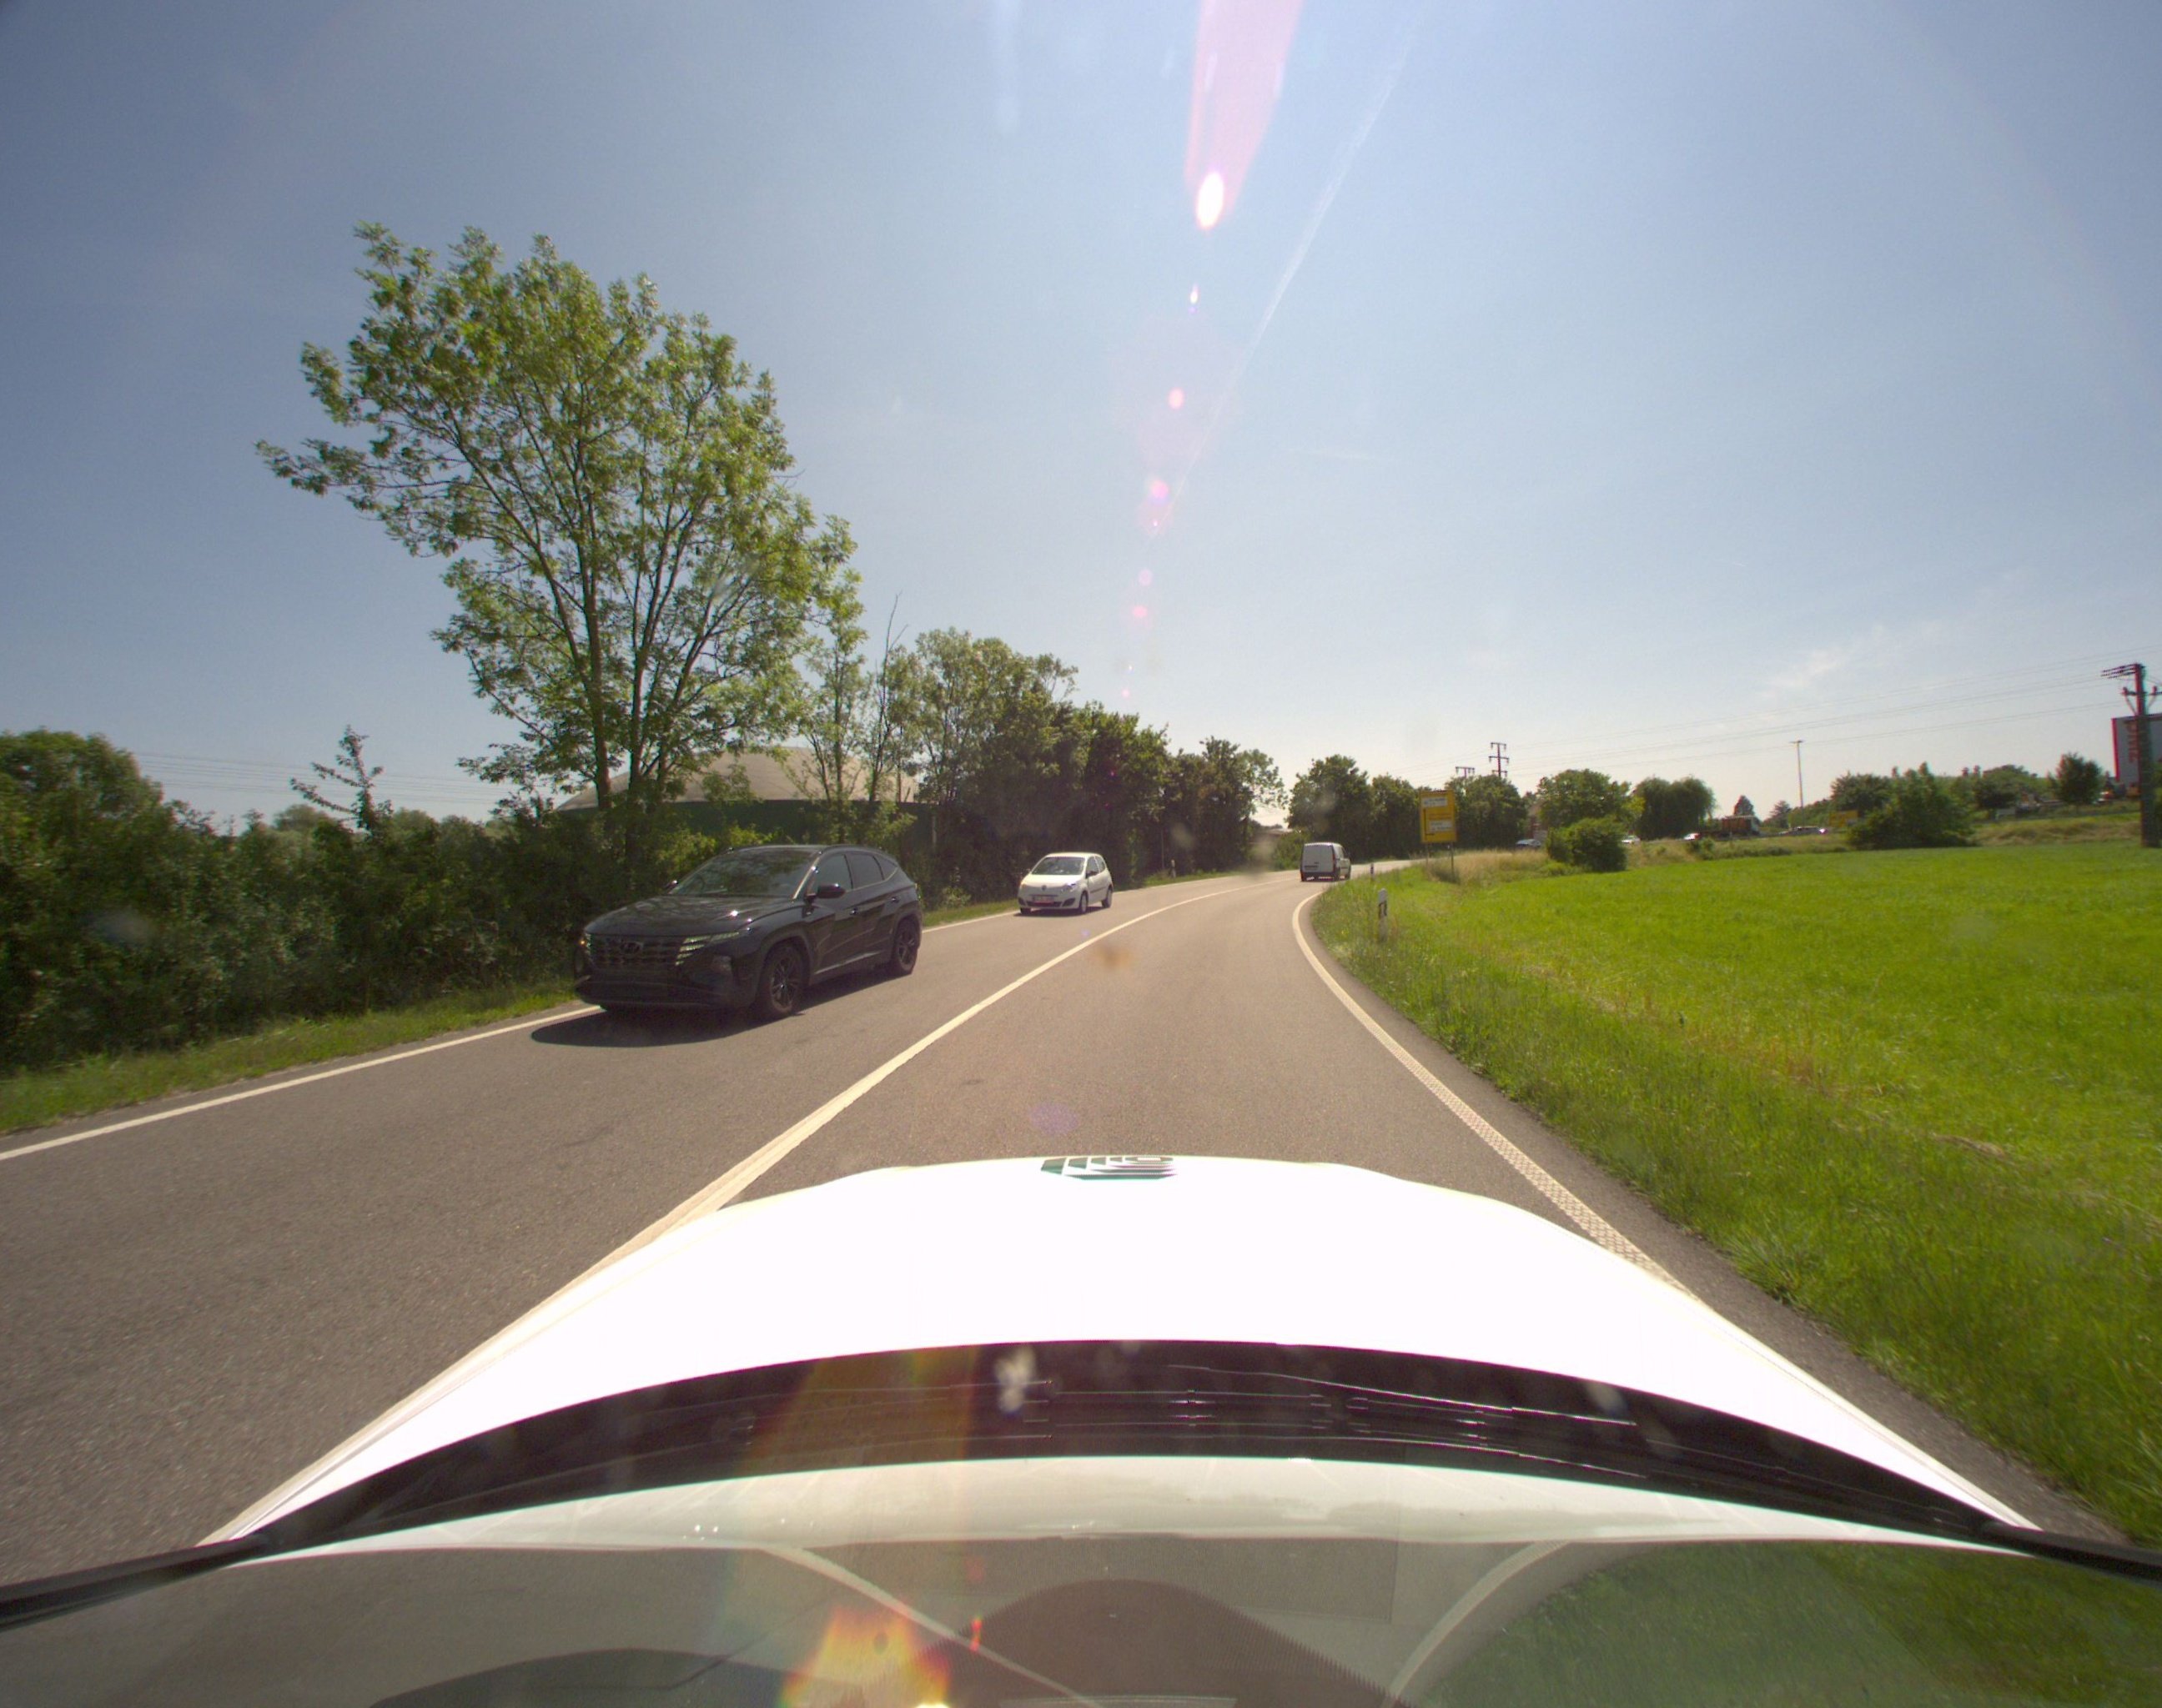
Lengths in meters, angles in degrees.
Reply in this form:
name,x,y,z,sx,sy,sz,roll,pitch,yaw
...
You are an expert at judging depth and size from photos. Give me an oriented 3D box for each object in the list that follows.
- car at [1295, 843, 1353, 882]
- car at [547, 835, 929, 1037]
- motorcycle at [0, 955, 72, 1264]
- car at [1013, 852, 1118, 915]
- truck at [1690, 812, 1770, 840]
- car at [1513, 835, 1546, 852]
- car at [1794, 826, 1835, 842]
name,x,y,z,sx,sy,sz,roll,pitch,yaw
car,11.682,0.382,38.984,1.886,1.732,3.845,-3,-1,27
car,-3.272,0.655,8.848,1.691,1.638,4.263,0,0,12
motorcycle,-4.527,0.956,2.054,0.777,1.123,2.434,0,-1,6
car,-0.301,0.690,20.730,1.524,1.443,3.624,1,0,18
truck,77.091,-3.300,96.769,8.797,3.137,3.090,0,-1,-18
car,41.225,-0.963,74.865,1.703,1.420,3.767,-3,-1,44
car,101.439,-2.727,112.694,2.010,2.014,3.953,1,-1,-40
